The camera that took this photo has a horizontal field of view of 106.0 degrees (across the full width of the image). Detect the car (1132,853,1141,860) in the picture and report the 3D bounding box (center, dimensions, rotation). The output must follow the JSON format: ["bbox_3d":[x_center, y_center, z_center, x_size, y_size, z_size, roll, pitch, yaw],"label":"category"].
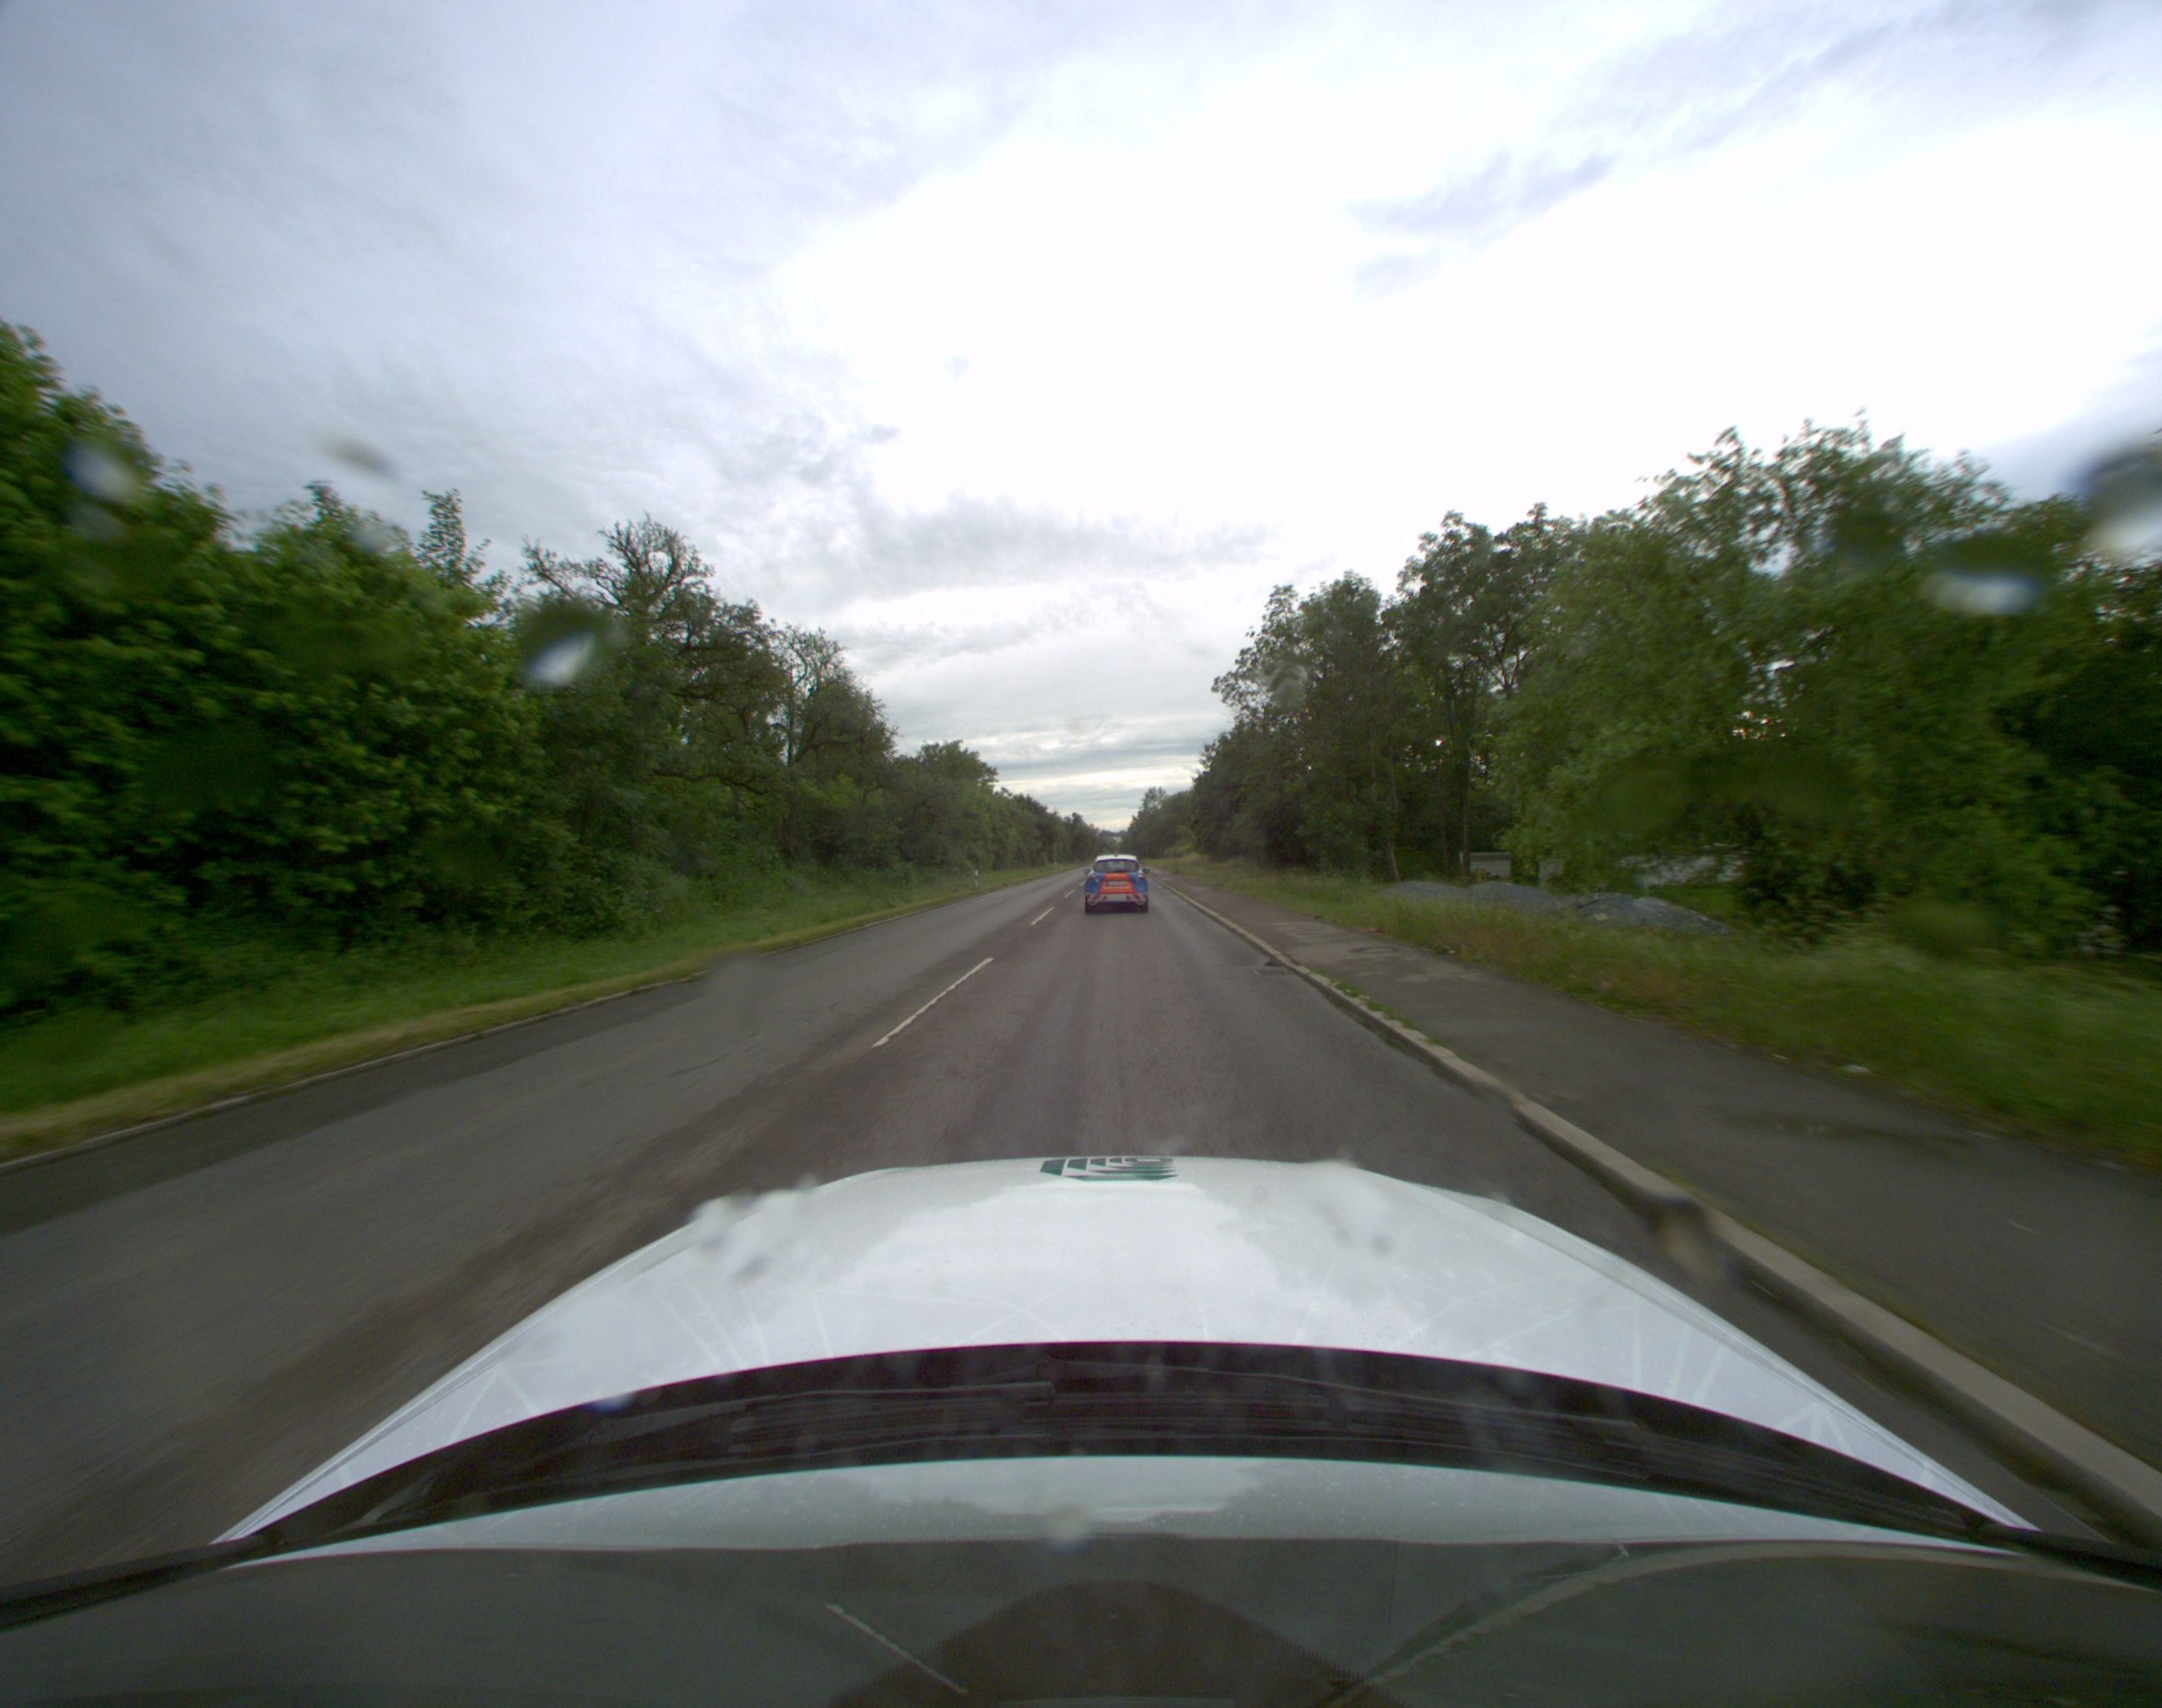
[{"bbox_3d":[13.378,0.606,197.490,1.985,1.376,4.003,-2,0,3],"label":"car"}]

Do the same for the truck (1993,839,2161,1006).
[{"bbox_3d":[18.474,0.919,11.908,6.998,2.359,2.073,-1,0,11],"label":"truck"}]

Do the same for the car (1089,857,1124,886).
[{"bbox_3d":[1.302,0.850,40.540,1.592,1.287,3.479,-2,0,3],"label":"car"}]

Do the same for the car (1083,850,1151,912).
[{"bbox_3d":[1.010,0.697,23.080,1.745,1.555,3.795,-1,1,2],"label":"car"}]
